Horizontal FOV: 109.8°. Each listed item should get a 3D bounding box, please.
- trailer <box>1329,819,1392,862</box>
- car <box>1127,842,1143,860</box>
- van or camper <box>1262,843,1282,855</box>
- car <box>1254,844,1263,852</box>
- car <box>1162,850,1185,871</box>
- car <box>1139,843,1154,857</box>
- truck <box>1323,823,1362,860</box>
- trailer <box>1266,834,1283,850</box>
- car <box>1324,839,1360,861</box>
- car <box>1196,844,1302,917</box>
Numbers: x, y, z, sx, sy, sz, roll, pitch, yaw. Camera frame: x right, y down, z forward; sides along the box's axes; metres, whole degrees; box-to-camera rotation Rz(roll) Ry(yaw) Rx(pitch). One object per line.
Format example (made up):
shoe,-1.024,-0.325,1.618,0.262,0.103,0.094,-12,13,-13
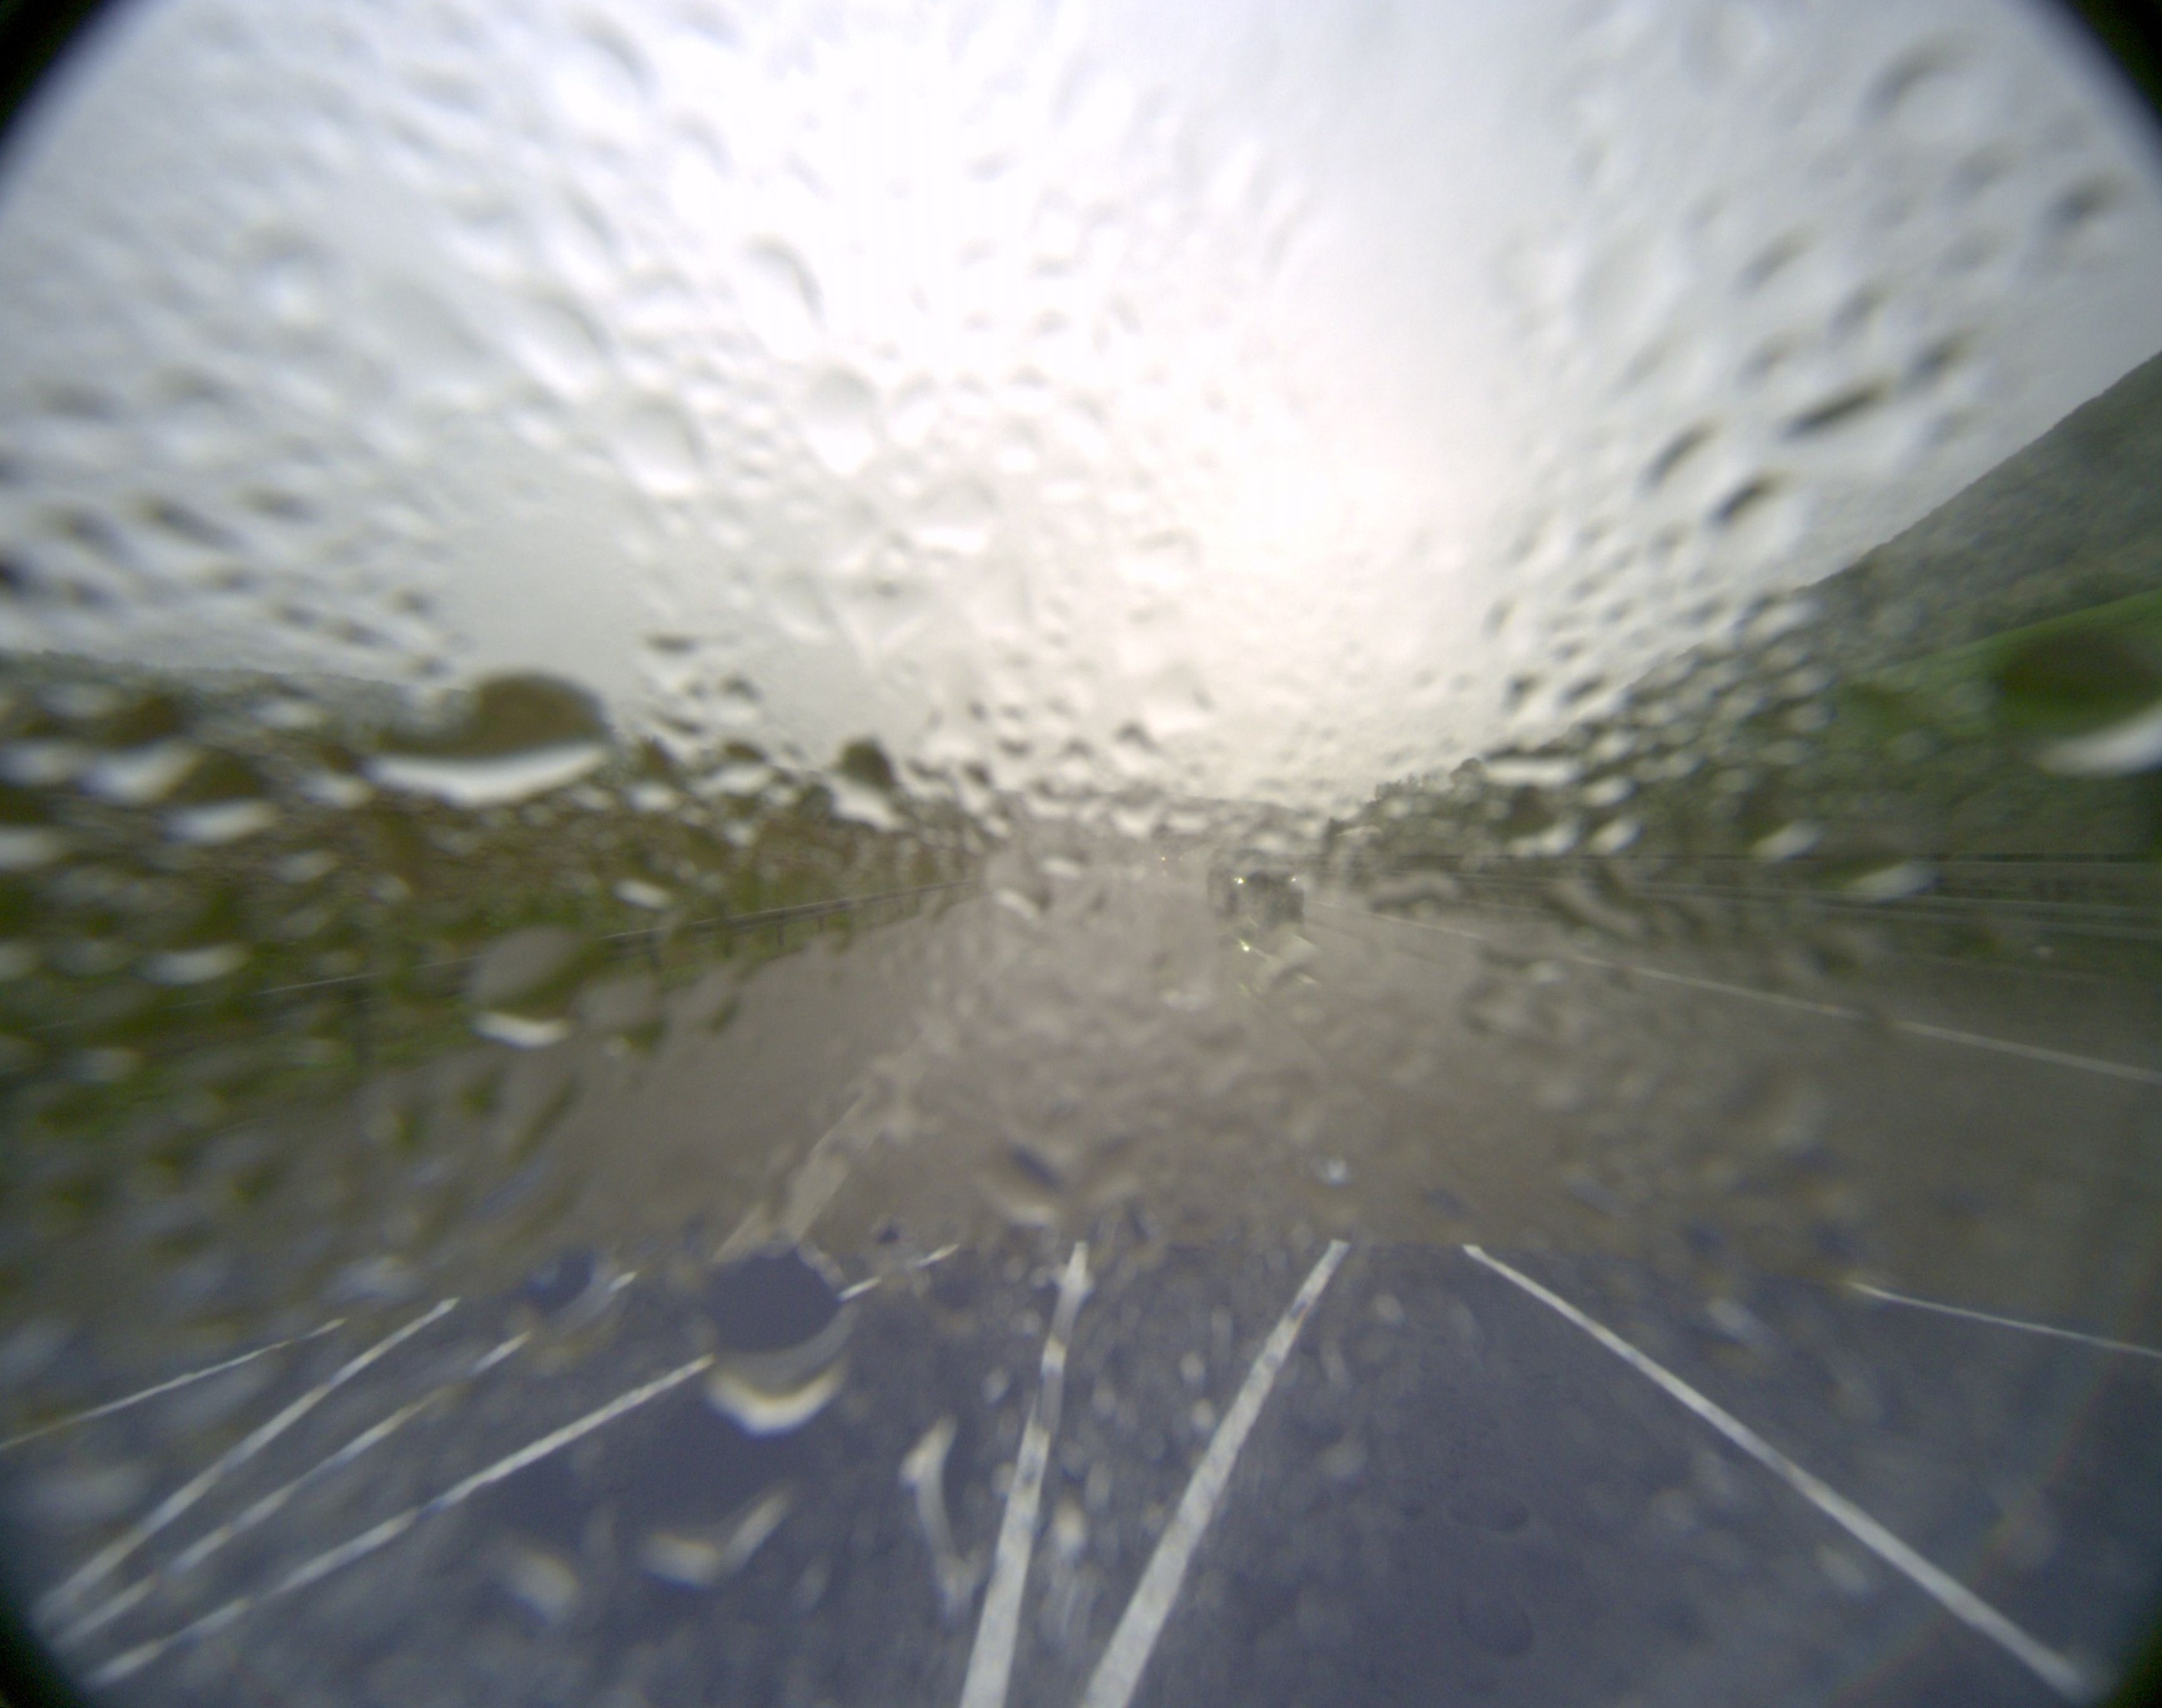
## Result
trailer,28.065,-1.333,76.978,2.939,3.880,12.573,-2,0,6
car,6.729,-0.378,95.276,1.835,2.002,3.939,-4,1,4
van or camper,29.830,-0.760,118.848,1.998,1.867,5.347,-2,0,3
car,45.236,-1.584,193.712,1.917,2.002,4.002,-2,1,7
car,9.044,0.619,74.416,1.987,2.002,3.934,-2,0,3
car,9.853,-0.558,115.333,1.998,2.002,4.000,-2,0,2
truck,28.870,-1.360,84.005,2.890,3.780,5.317,-2,1,6
trailer,46.228,-2.851,181.705,2.725,3.471,9.399,-2,1,8
car,21.954,-0.344,64.055,1.998,1.724,4.001,-2,1,6
car,4.400,0.618,20.447,1.815,1.692,3.747,-2,1,-2
